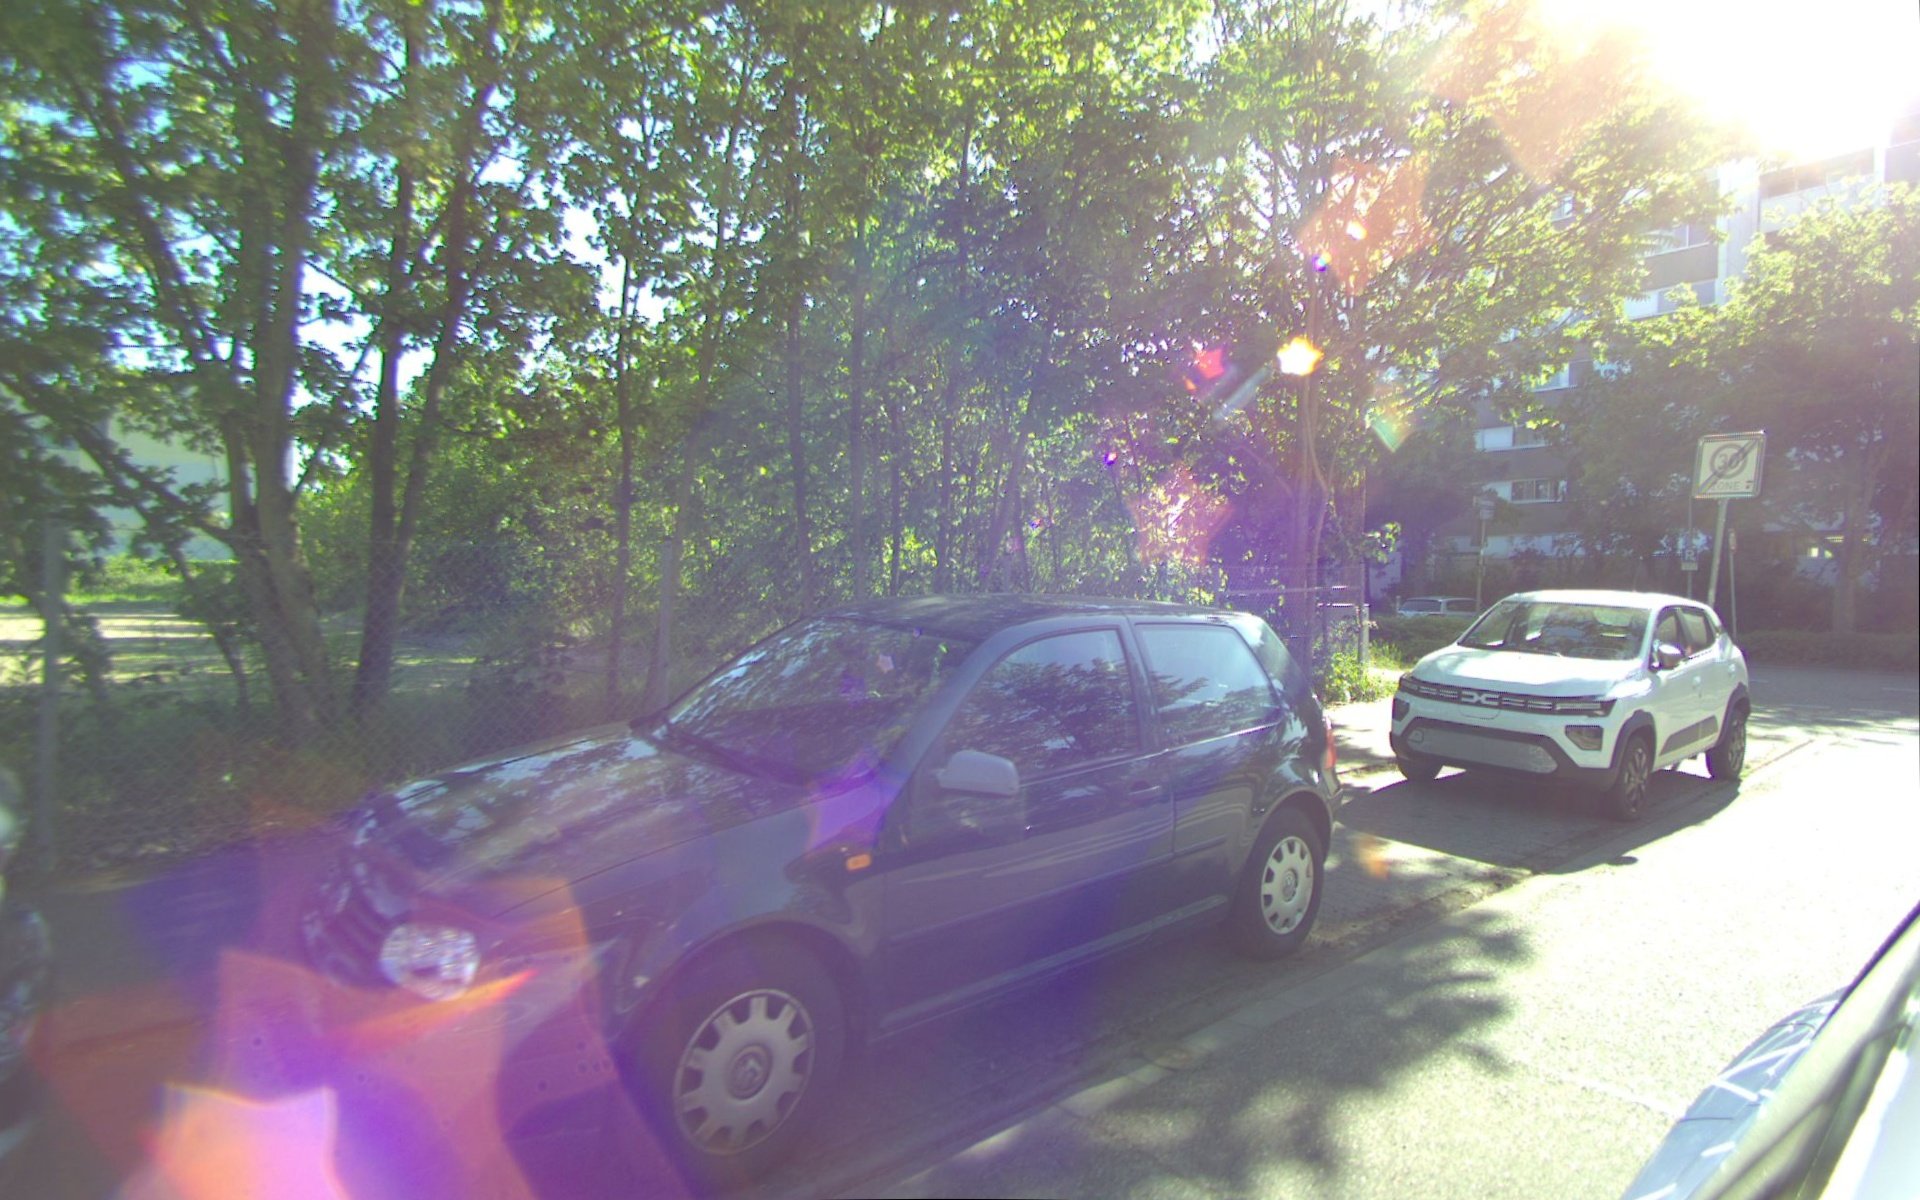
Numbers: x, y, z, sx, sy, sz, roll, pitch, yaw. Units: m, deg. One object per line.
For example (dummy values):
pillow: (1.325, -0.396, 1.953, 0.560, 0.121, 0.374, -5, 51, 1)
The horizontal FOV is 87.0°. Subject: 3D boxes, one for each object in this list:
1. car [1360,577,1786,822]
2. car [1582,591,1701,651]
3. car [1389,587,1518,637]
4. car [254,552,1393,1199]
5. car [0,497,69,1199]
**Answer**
car: (4.993, 0.567, 8.033, 4.017, 1.469, 1.623, -1, 1, -39)
car: (18.981, 0.525, 28.129, 3.929, 1.469, 1.715, -1, 2, -40)
car: (15.370, 0.376, 31.466, 4.207, 1.446, 1.827, 1, 0, -35)
car: (-0.201, 0.632, 3.887, 3.996, 1.490, 1.828, 0, 1, -40)
car: (-3.679, 0.555, 0.857, 4.362, 1.456, 1.679, 0, 1, -42)
